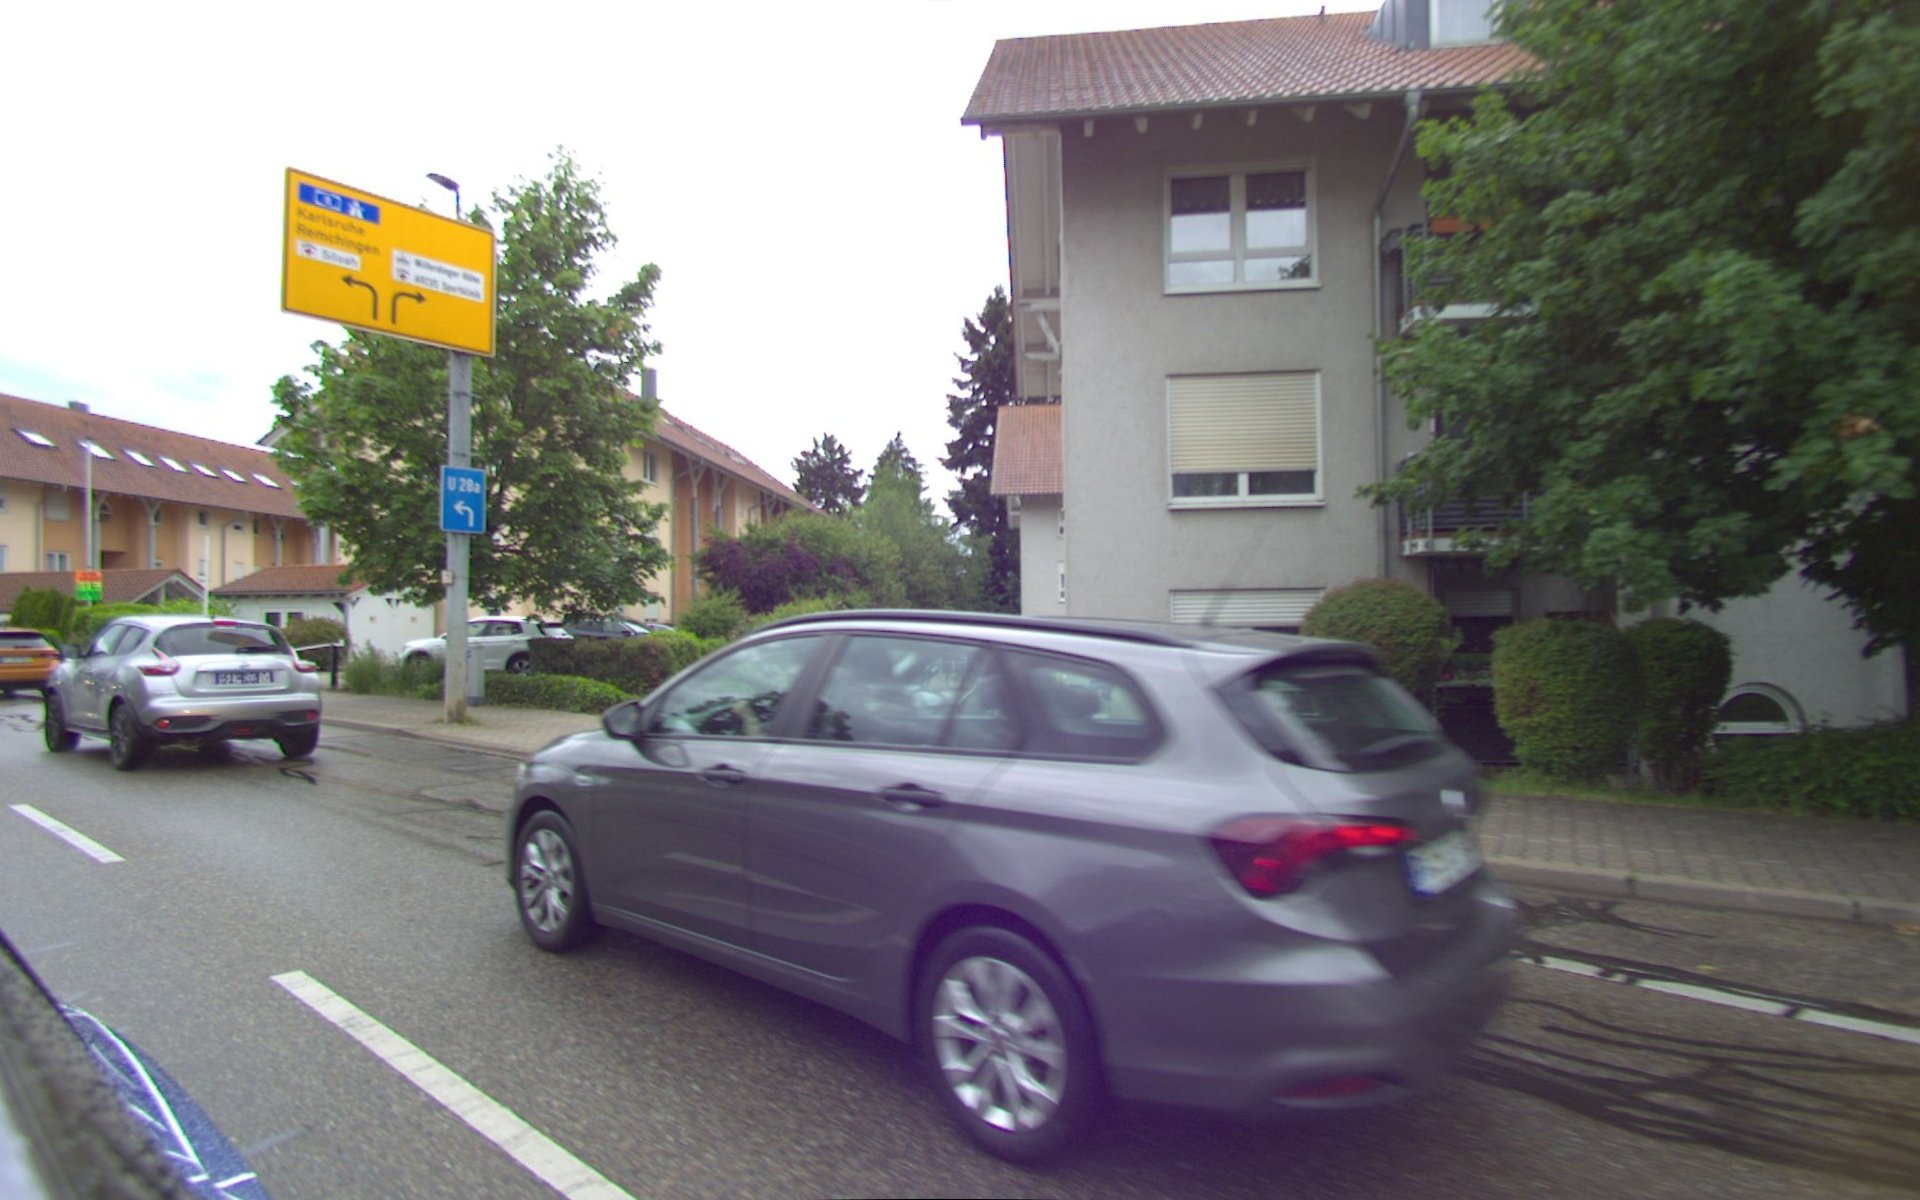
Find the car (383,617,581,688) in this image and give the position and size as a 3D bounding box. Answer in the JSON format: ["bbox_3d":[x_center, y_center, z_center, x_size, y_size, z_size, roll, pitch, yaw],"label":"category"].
[{"bbox_3d":[-11.388,1.237,24.251,3.950,1.614,1.735,0,-2,5],"label":"car"}]

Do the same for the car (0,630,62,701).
[{"bbox_3d":[-20.251,1.312,20.845,3.762,1.395,1.672,-1,-2,33],"label":"car"}]

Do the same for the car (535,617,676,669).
[{"bbox_3d":[-9.846,1.187,28.251,3.396,1.392,1.514,0,-2,5],"label":"car"}]

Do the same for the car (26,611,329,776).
[{"bbox_3d":[-8.817,0.928,11.310,3.993,1.537,1.648,-1,-2,37],"label":"car"}]

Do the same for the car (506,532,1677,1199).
[{"bbox_3d":[0.049,0.700,3.918,4.249,1.485,1.757,-2,-3,42],"label":"car"}]
